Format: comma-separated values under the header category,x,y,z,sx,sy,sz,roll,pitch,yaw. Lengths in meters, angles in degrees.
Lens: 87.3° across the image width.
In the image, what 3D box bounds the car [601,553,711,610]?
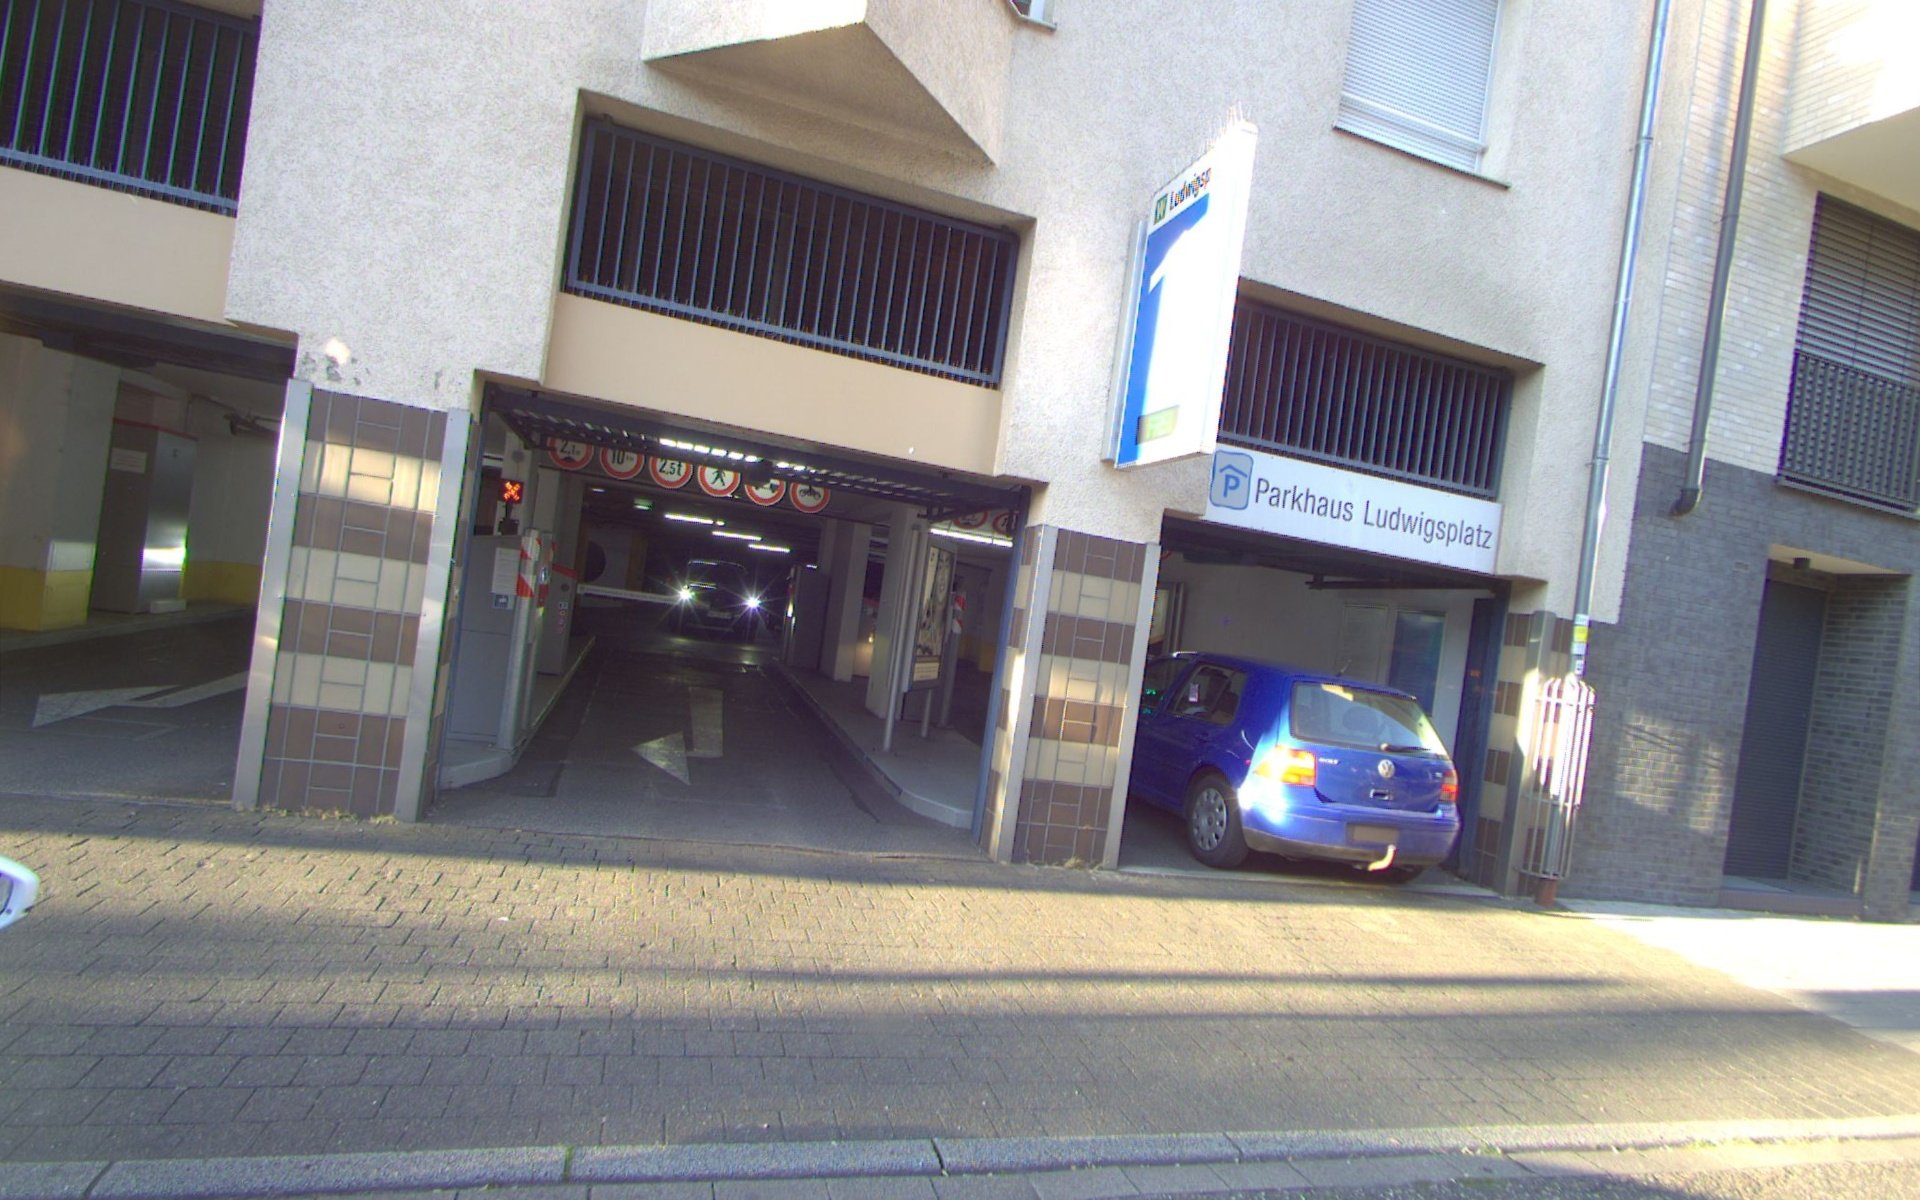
category,x,y,z,sx,sy,sz,roll,pitch,yaw
car,-10.665,-0.665,35.229,3.820,1.408,1.603,9,1,37

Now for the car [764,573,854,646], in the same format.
category,x,y,z,sx,sy,sz,roll,pitch,yaw
car,-4.333,0.210,28.348,1.540,1.638,3.860,8,1,-21

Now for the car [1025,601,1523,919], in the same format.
category,x,y,z,sx,sy,sz,roll,pitch,yaw
car,2.146,1.051,8.244,1.669,1.583,4.099,8,1,-18

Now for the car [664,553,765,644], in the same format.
category,x,y,z,sx,sy,sz,roll,pitch,yaw
car,-5.718,-0.074,23.133,1.863,1.643,4.285,8,0,-16

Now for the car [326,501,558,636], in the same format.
category,x,y,z,sx,sy,sz,roll,pitch,yaw
car,-7.854,-0.459,15.748,1.788,1.592,4.243,7,0,-8
